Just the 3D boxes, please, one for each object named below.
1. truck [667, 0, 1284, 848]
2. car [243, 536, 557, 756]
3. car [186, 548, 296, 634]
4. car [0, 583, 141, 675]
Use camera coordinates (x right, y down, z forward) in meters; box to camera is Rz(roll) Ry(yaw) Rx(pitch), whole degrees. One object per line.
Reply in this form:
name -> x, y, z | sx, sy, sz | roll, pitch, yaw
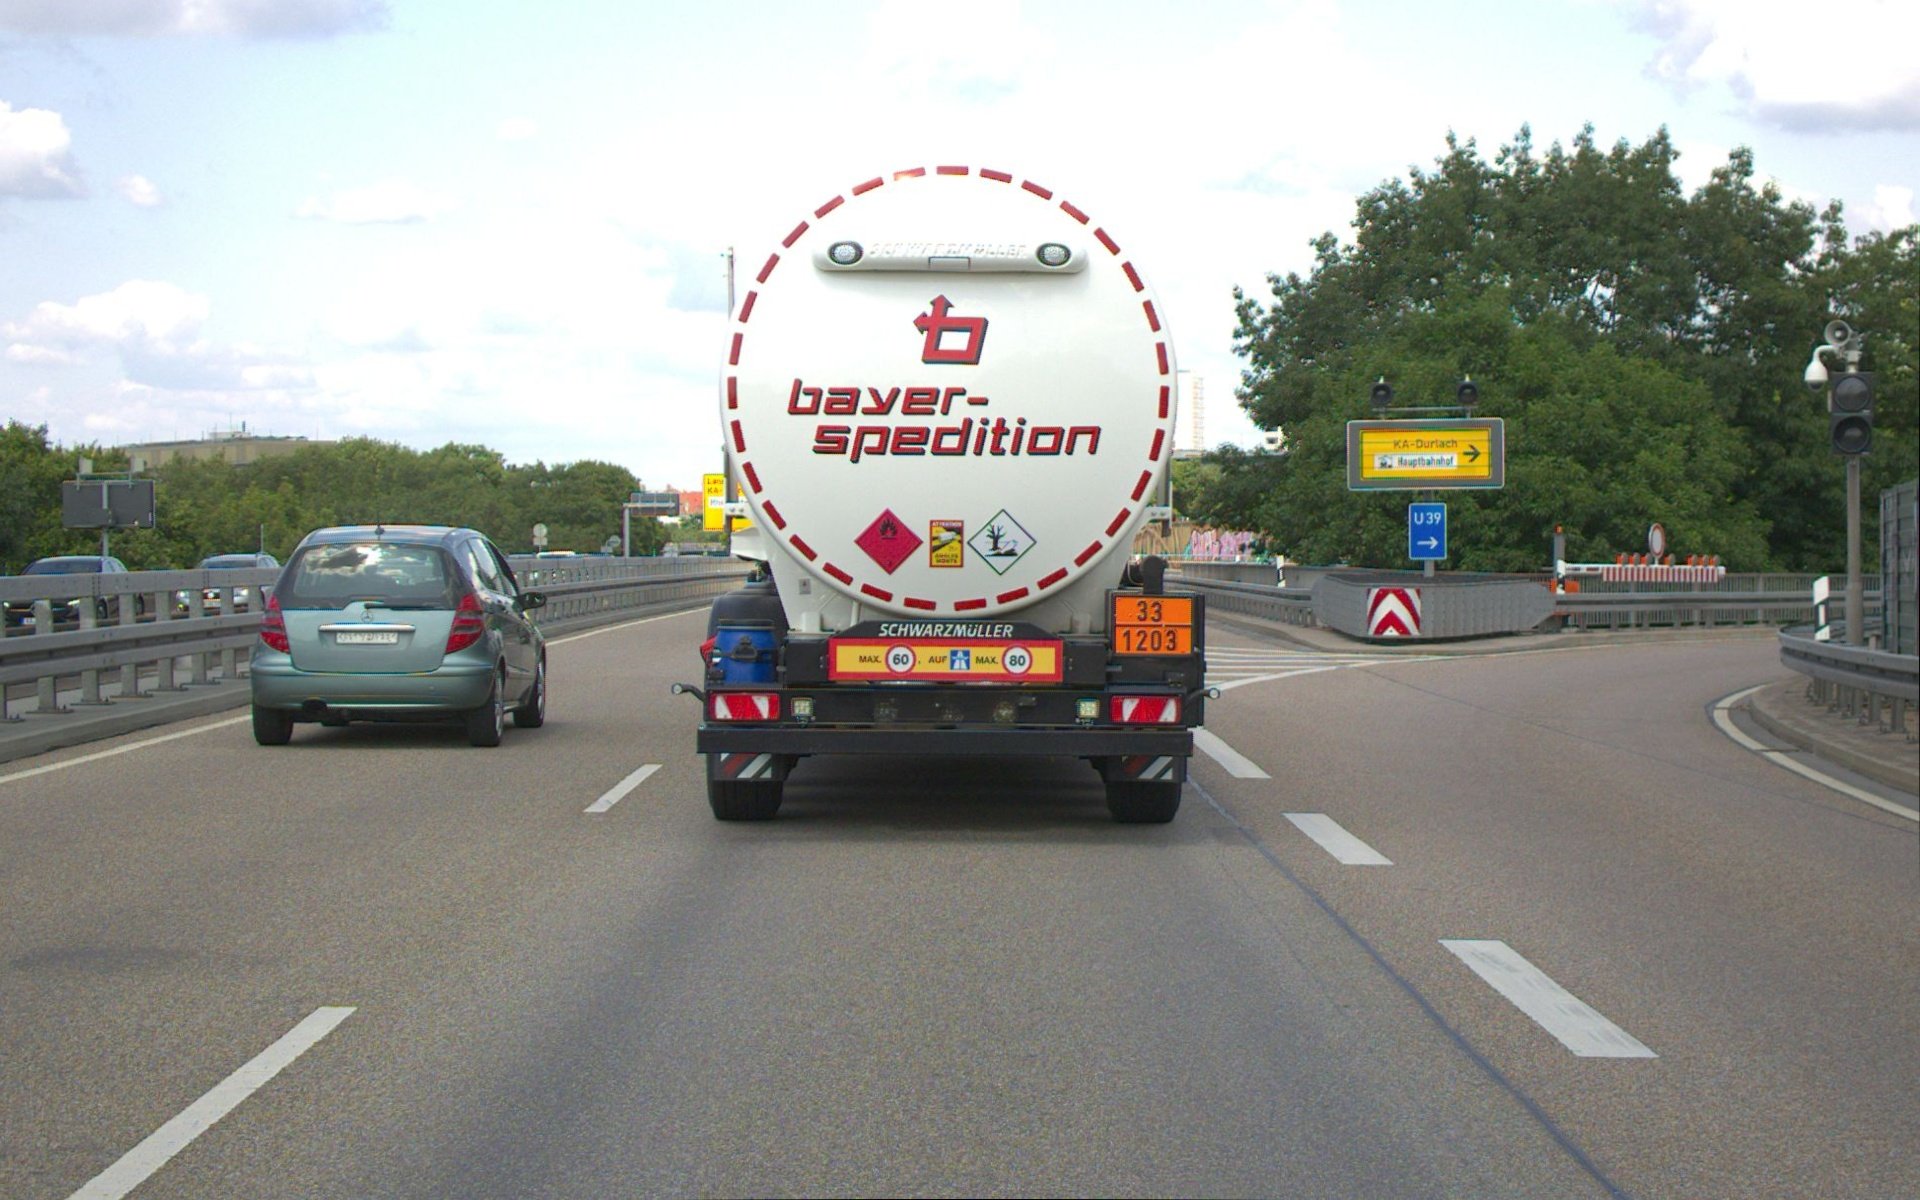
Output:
truck -> 0.020, -1.060, 20.531 | 2.895, 4.354, 8.030 | 1, 1, -1
car -> -4.123, 0.282, 25.896 | 1.747, 1.526, 4.000 | 0, 1, -1
car -> -15.545, -0.225, 74.464 | 1.582, 1.705, 4.411 | 1, 2, -2
car -> -15.556, 0.479, 59.789 | 1.784, 1.385, 4.048 | 1, 2, -2
